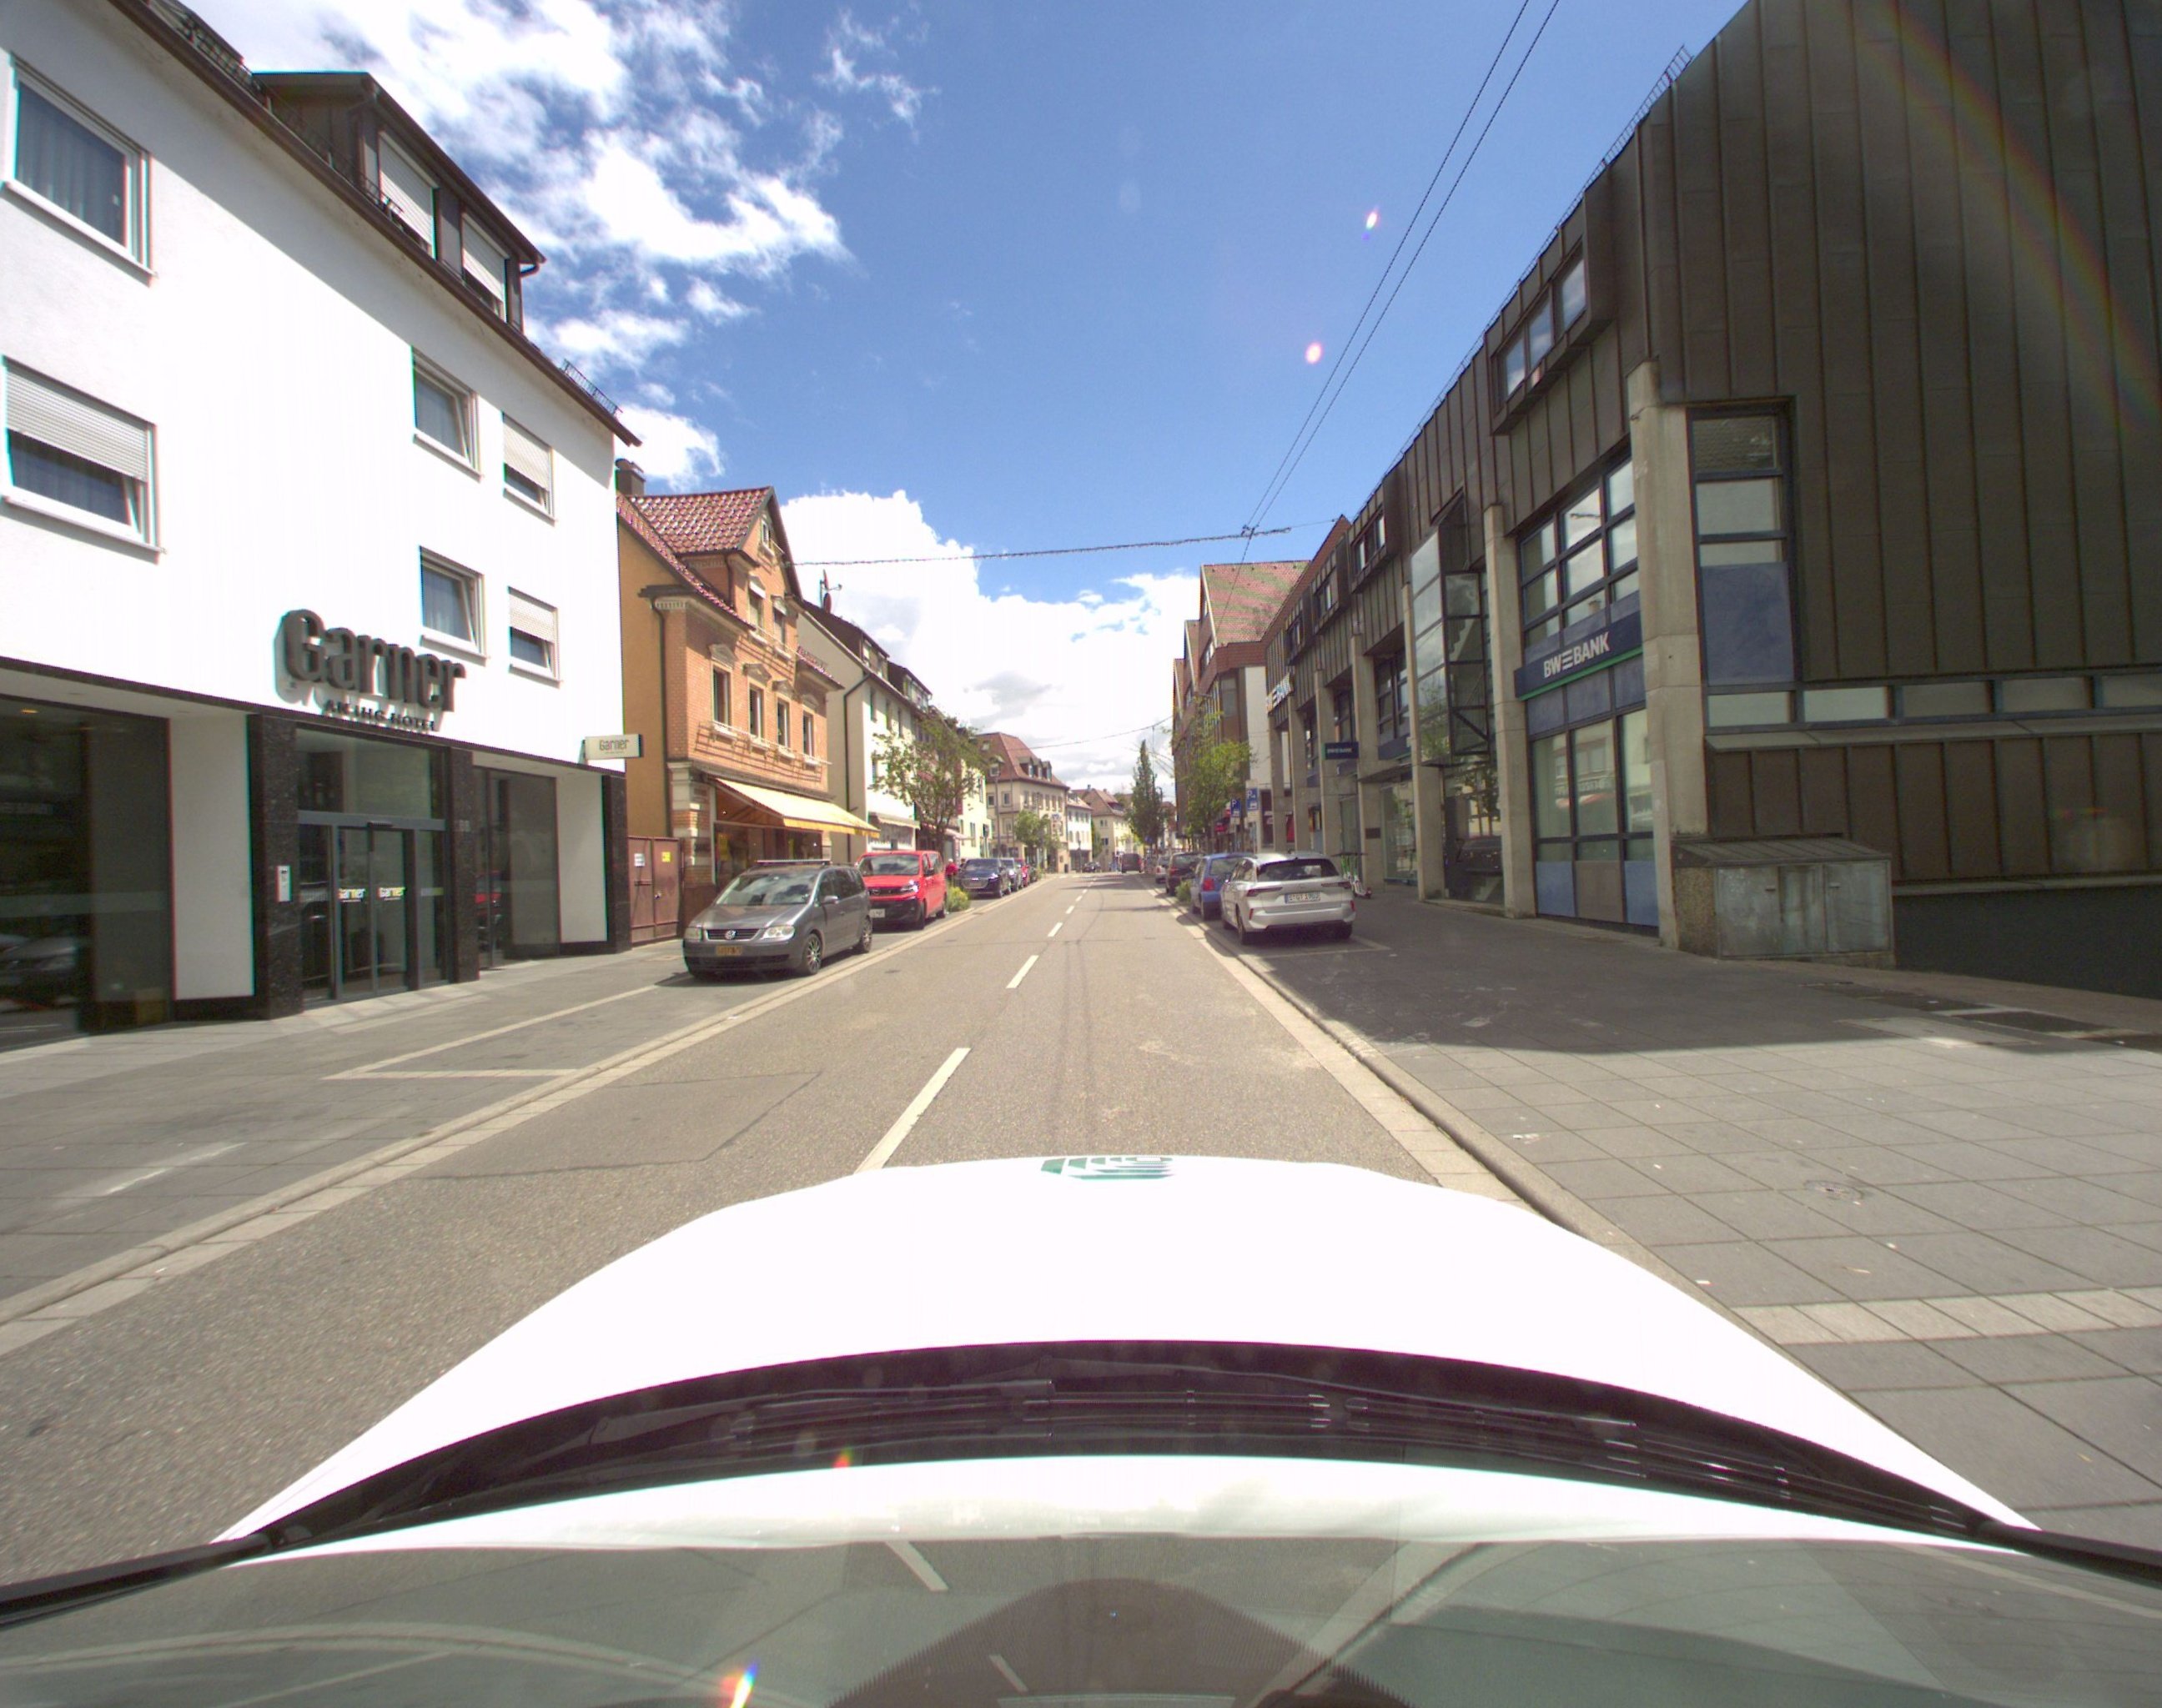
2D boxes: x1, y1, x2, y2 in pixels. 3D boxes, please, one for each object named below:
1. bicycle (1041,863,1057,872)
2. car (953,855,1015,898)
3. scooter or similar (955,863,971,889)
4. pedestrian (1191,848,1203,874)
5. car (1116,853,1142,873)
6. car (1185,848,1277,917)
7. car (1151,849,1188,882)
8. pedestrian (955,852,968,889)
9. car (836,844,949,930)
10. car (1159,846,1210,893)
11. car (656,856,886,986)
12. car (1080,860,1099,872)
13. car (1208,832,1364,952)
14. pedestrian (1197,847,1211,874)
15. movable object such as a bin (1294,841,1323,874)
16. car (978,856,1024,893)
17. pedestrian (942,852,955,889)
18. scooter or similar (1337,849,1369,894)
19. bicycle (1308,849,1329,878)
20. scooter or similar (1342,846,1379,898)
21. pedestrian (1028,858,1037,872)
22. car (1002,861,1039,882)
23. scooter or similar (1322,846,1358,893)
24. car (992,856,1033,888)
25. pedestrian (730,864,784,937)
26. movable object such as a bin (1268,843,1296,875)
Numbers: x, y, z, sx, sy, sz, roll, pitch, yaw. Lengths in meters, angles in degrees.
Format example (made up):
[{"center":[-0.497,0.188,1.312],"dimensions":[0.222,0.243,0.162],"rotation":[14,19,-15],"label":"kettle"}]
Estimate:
[{"center":[-3.529,1.486,89.320],"dimensions":[1.619,1.031,0.570],"rotation":[-1,-1,17],"label":"bicycle"},{"center":[-3.914,0.873,33.517],"dimensions":[1.792,1.598,4.391],"rotation":[-2,0,2],"label":"car"},{"center":[-5.376,0.984,37.179],"dimensions":[0.560,1.151,0.985],"rotation":[-1,-1,-1],"label":"scooter or similar"},{"center":[8.183,0.509,57.492],"dimensions":[0.734,1.814,0.712],"rotation":[-1,-1,2],"label":"pedestrian"},{"center":[4.547,0.859,77.830],"dimensions":[2.035,1.848,4.996],"rotation":[-1,-1,-1],"label":"car"},{"center":[3.537,0.647,19.836],"dimensions":[1.714,1.494,4.112],"rotation":[-1,-1,3],"label":"car"},{"center":[4.558,0.561,42.408],"dimensions":[1.603,1.495,3.798],"rotation":[-5,0,3],"label":"car"},{"center":[-5.355,0.741,36.456],"dimensions":[0.512,1.648,0.472],"rotation":[-1,-1,0],"label":"pedestrian"},{"center":[-4.617,0.771,20.700],"dimensions":[1.811,1.889,4.838],"rotation":[-1,-1,-1],"label":"car"},{"center":[3.823,0.544,30.533],"dimensions":[1.602,1.532,3.798],"rotation":[-3,0,3],"label":"car"},{"center":[-4.761,0.944,13.330],"dimensions":[1.808,1.755,4.468],"rotation":[-1,-1,4],"label":"car"},{"center":[1.094,1.495,101.967],"dimensions":[1.613,1.486,3.819],"rotation":[-1,-1,14],"label":"car"},{"center":[3.385,0.557,14.319],"dimensions":[1.714,1.576,4.433],"rotation":[-7,0,3],"label":"car"},{"center":[7.594,0.401,50.283],"dimensions":[0.658,1.706,0.642],"rotation":[0,-1,-21],"label":"pedestrian"},{"center":[10.827,0.169,38.722],"dimensions":[1.137,1.528,1.033],"rotation":[-1,-1,5],"label":"movable object such as a bin"},{"center":[-3.808,0.926,39.276],"dimensions":[1.794,1.604,4.349],"rotation":[-2,0,-1],"label":"car"},{"center":[-5.939,0.732,36.529],"dimensions":[0.499,1.648,0.574],"rotation":[-1,-1,0],"label":"pedestrian"},{"center":[7.844,0.495,23.521],"dimensions":[0.420,1.246,1.562],"rotation":[-1,-1,2],"label":"scooter or similar"},{"center":[9.348,0.386,32.139],"dimensions":[0.423,1.119,1.743],"rotation":[-1,-1,4],"label":"bicycle"},{"center":[7.005,0.437,20.471],"dimensions":[0.420,1.246,1.562],"rotation":[-1,-1,2],"label":"scooter or similar"},{"center":[-5.424,1.232,90.805],"dimensions":[0.620,1.532,0.864],"rotation":[-1,-1,26],"label":"pedestrian"},{"center":[-3.775,1.056,51.289],"dimensions":[1.812,1.224,4.526],"rotation":[0,0,2],"label":"car"},{"center":[7.074,0.423,22.310],"dimensions":[0.405,1.246,1.321],"rotation":[-1,-1,-8],"label":"scooter or similar"},{"center":[-3.720,0.942,44.629],"dimensions":[1.793,1.604,4.218],"rotation":[-2,0,0],"label":"car"},{"center":[-7.170,1.009,18.022],"dimensions":[0.800,1.574,0.781],"rotation":[-1,-1,11],"label":"pedestrian"},{"center":[9.593,0.237,38.903],"dimensions":[1.137,1.528,1.033],"rotation":[-1,-1,5],"label":"movable object such as a bin"}]
